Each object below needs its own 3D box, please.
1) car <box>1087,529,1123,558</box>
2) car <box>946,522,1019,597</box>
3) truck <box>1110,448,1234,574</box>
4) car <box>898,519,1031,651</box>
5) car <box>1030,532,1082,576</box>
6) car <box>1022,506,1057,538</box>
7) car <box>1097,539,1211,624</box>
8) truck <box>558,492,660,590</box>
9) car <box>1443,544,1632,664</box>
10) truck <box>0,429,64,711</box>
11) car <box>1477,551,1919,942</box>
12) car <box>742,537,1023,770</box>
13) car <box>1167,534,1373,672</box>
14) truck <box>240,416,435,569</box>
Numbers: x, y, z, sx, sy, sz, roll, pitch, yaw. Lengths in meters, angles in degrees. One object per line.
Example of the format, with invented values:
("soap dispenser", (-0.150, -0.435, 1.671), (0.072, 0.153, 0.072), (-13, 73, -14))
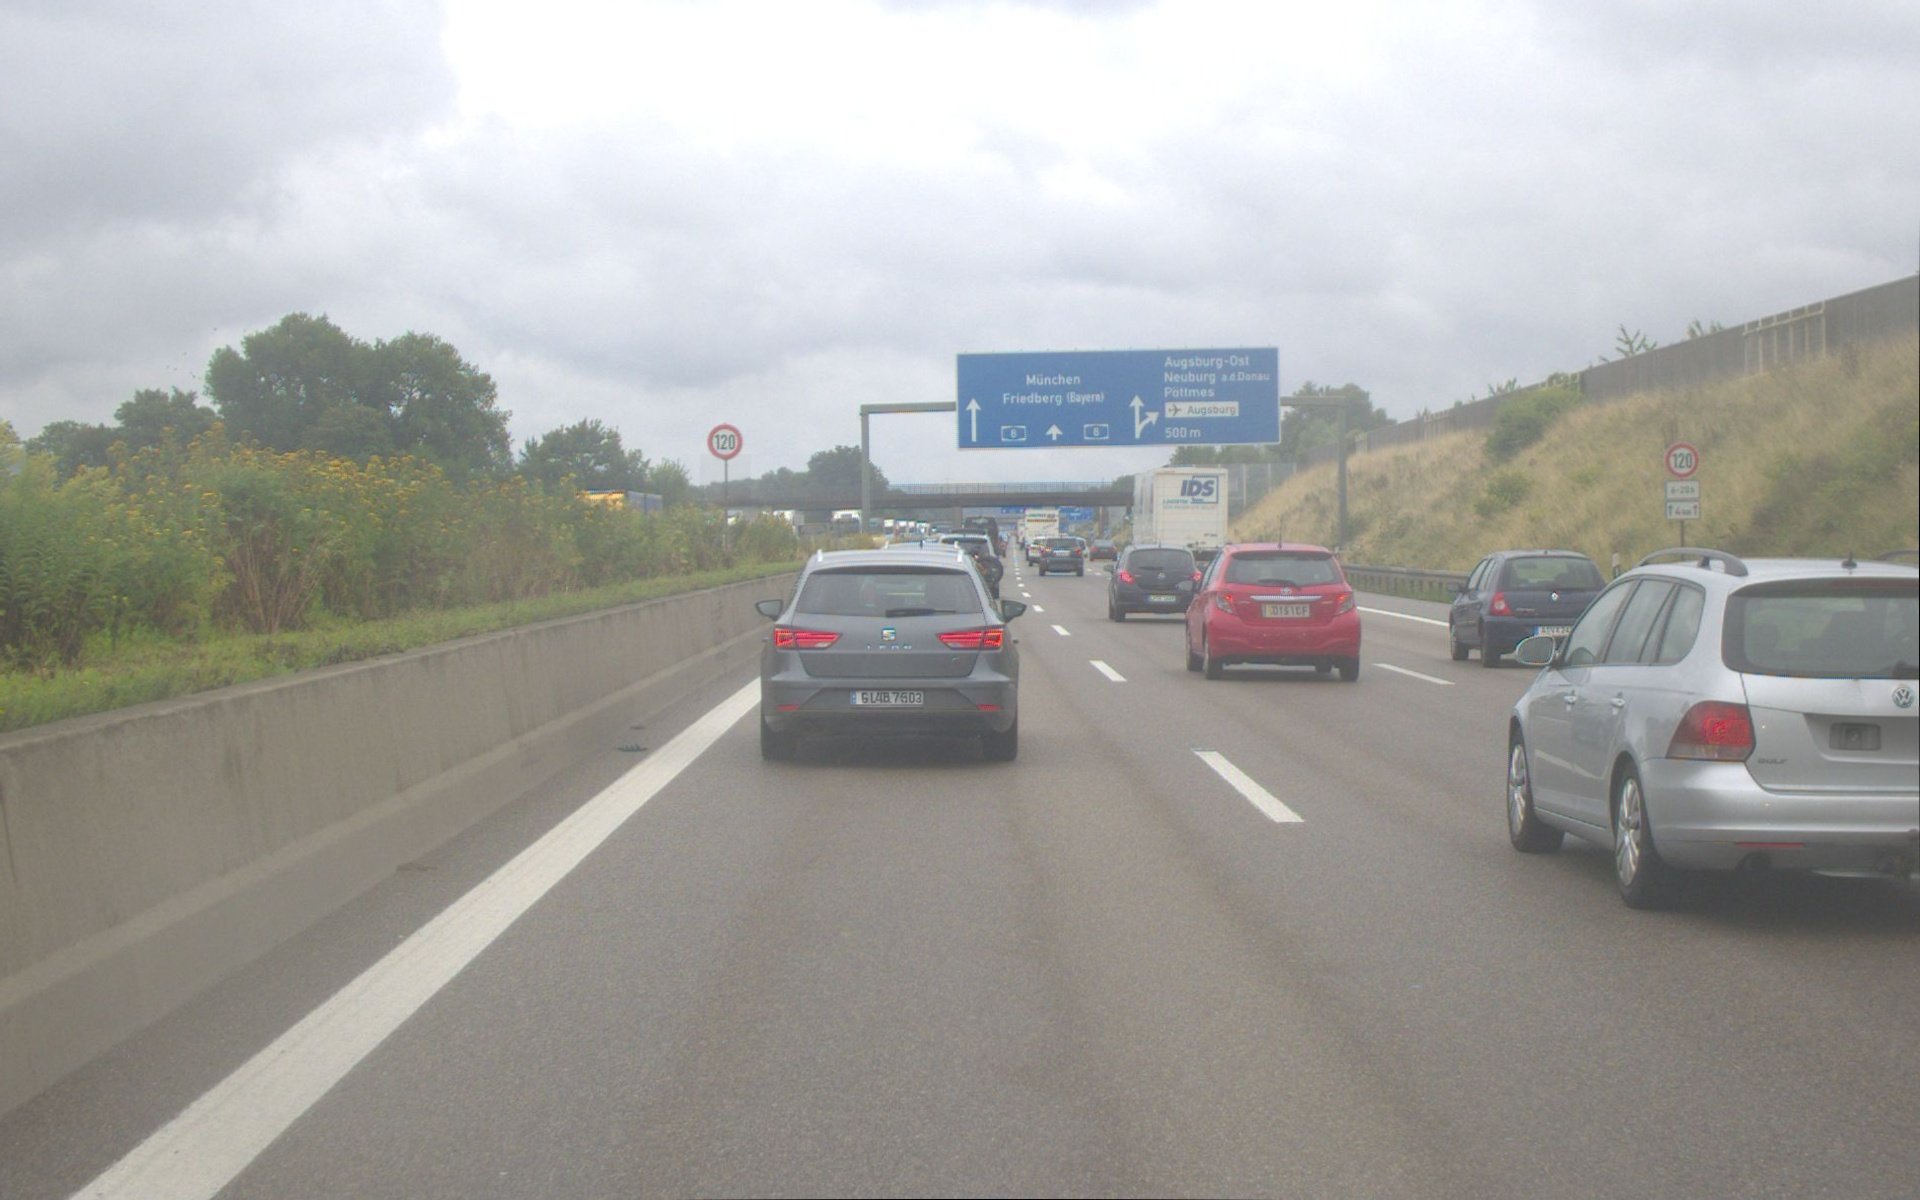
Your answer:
("car", (9.370, -3.638, 222.244), (1.993, 1.853, 4.391), (0, 1, -2))
("car", (0.551, -1.046, 87.299), (1.704, 1.790, 3.855), (-2, 1, -1))
("truck", (7.714, -3.179, 127.731), (3.283, 4.280, 19.034), (1, 1, 0))
("car", (0.063, -0.228, 47.964), (1.754, 1.744, 4.000), (1, 1, 0))
("car", (3.777, -1.828, 136.052), (1.845, 1.681, 4.000), (1, 1, -1))
("car", (5.175, -5.067, 223.083), (1.993, 2.007, 4.001), (-1, 1, -2))
("car", (3.630, -0.380, 64.996), (1.921, 1.516, 4.622), (0, 1, 0))
("truck", (-16.188, -2.703, 159.311), (3.412, 4.349, 10.991), (1, 1, 1))
("car", (7.111, 0.020, 42.656), (1.702, 1.396, 3.875), (1, 1, 0))
("truck", (-17.404, -0.502, 55.586), (3.225, 4.633, 9.674), (1, 1, 0))
("car", (3.493, 0.518, 15.158), (1.742, 1.420, 4.517), (-1, 1, 0))
("car", (-0.518, 0.318, 23.963), (1.768, 1.462, 4.000), (1, 1, -1))
("car", (3.431, -0.013, 38.793), (1.891, 1.441, 4.685), (0, 1, 0))
("truck", (-17.157, -2.886, 95.534), (3.184, 3.953, 10.810), (1, 1, 1))
